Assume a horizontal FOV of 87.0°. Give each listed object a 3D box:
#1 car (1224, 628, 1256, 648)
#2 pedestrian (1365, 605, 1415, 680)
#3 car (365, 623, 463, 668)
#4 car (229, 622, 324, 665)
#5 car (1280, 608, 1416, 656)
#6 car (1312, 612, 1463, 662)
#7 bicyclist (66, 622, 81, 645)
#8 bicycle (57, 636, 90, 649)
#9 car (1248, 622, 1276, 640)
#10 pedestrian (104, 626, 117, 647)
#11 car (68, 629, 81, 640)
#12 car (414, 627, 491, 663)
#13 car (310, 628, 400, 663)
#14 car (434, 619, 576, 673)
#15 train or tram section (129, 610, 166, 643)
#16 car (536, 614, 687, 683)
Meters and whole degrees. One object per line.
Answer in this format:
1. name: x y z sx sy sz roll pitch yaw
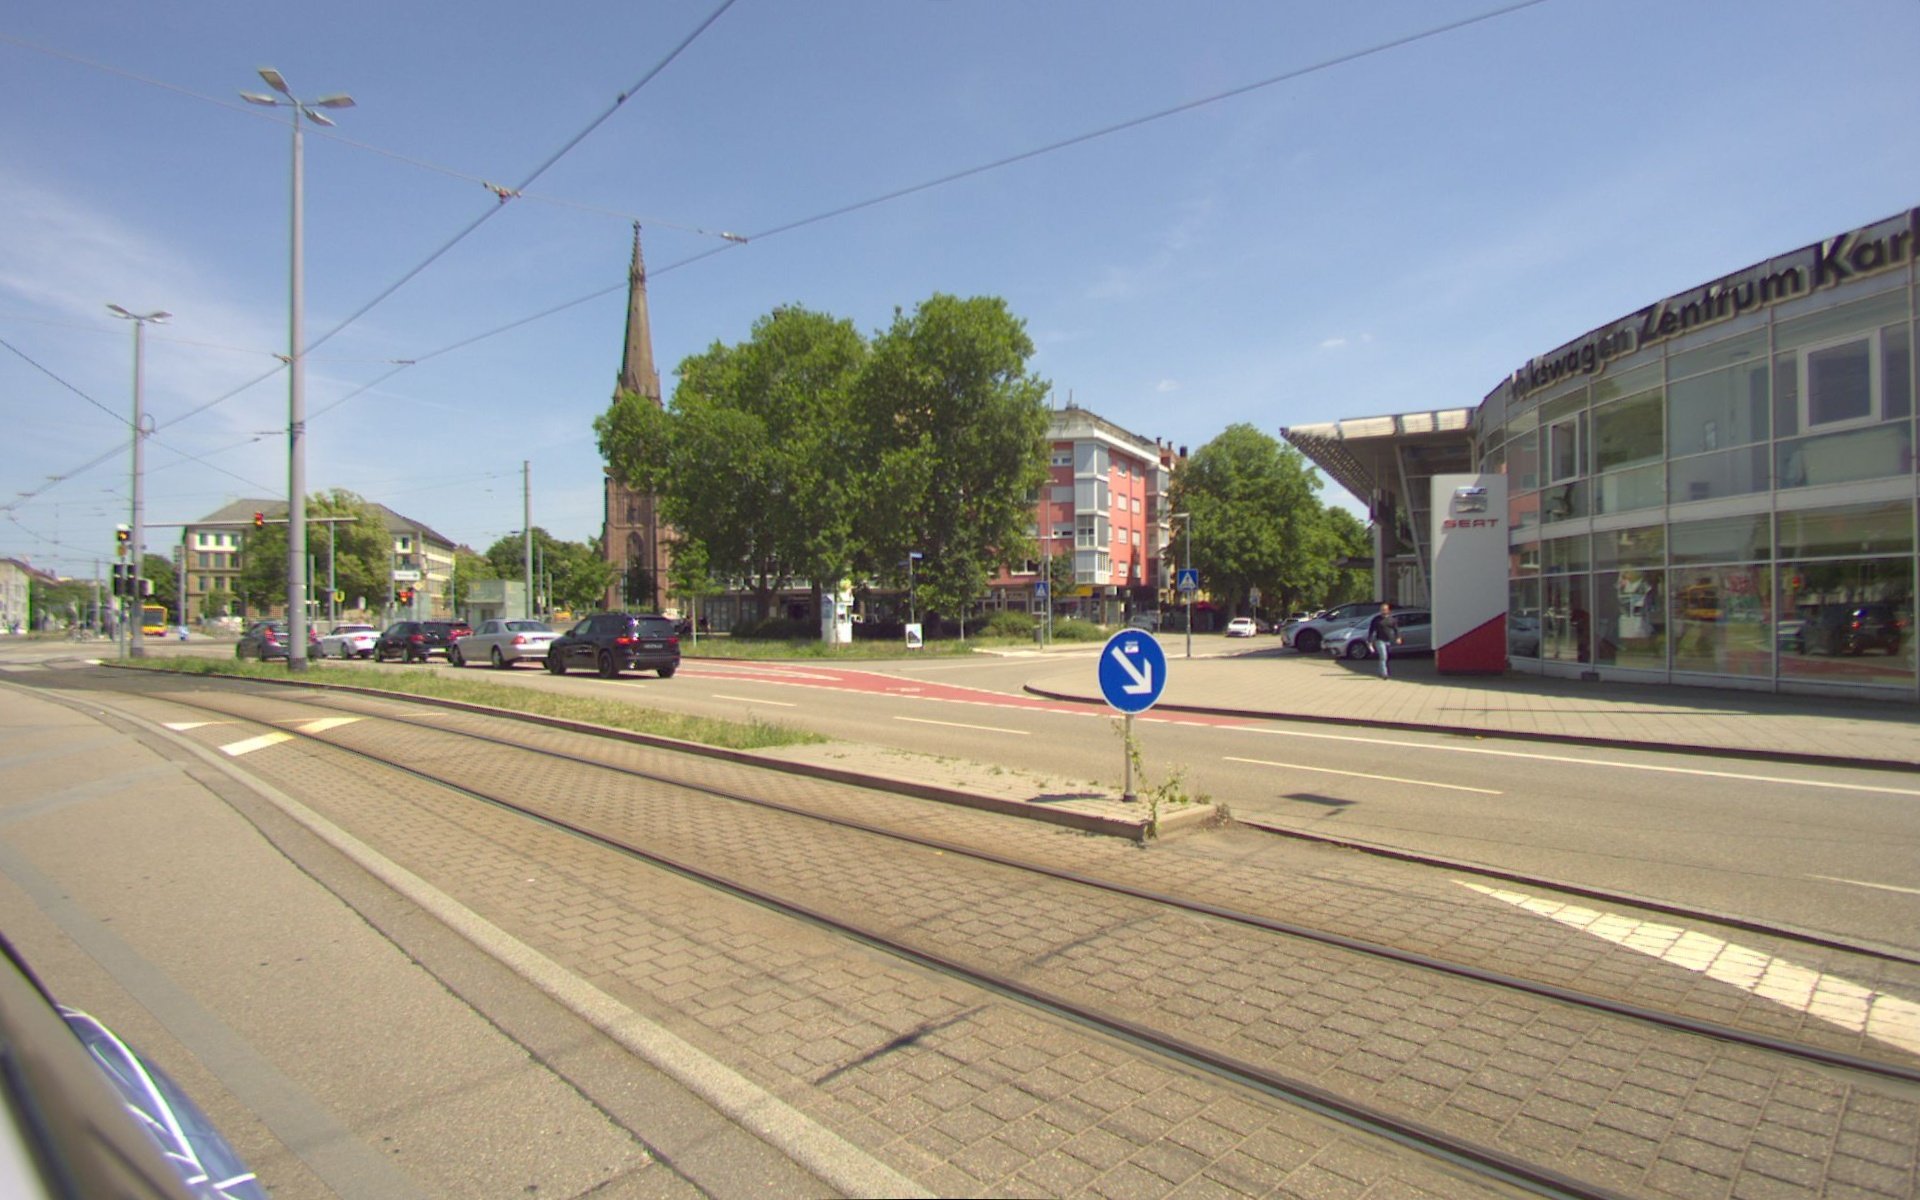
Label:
1. car: 21.348 2.877 77.079 1.537 1.444 3.962 -1 -1 28
2. pedestrian: 9.704 0.953 22.849 0.820 1.654 0.719 -2 -2 43
3. car: -18.985 1.546 35.118 3.900 1.473 1.654 -2 -2 40
4. car: -24.901 1.583 36.802 4.328 1.491 1.824 -2 -3 41
5. car: 13.253 1.094 34.787 4.150 1.431 1.604 -3 -2 16
6. car: 13.179 1.140 31.361 4.004 1.468 1.500 -1 -1 5
7. bicyclist: -68.183 2.588 77.836 0.527 1.701 0.803 -2 -1 35
8. bicycle: -68.118 3.275 77.773 0.527 0.986 1.884 -2 -1 35
9. car: 25.300 2.599 84.729 1.537 1.444 3.962 -1 -1 28
10. pedestrian: -66.740 2.878 79.509 0.447 1.684 0.651 -1 -1 24
11. car: -136.581 5.352 156.131 1.419 1.608 4.006 0 -1 -40
12. car: -23.675 2.069 47.154 4.395 1.610 1.518 -2 -3 40
13. car: -23.684 1.756 39.576 4.199 1.309 1.689 -1 -3 40
14. car: -14.100 1.394 31.241 5.127 1.542 1.973 -1 -3 40
15. train or tram section: -84.313 2.708 104.940 2.799 3.238 9.123 0 -1 -40
16. car: -9.101 1.226 26.238 4.525 1.639 1.802 -2 -3 43
